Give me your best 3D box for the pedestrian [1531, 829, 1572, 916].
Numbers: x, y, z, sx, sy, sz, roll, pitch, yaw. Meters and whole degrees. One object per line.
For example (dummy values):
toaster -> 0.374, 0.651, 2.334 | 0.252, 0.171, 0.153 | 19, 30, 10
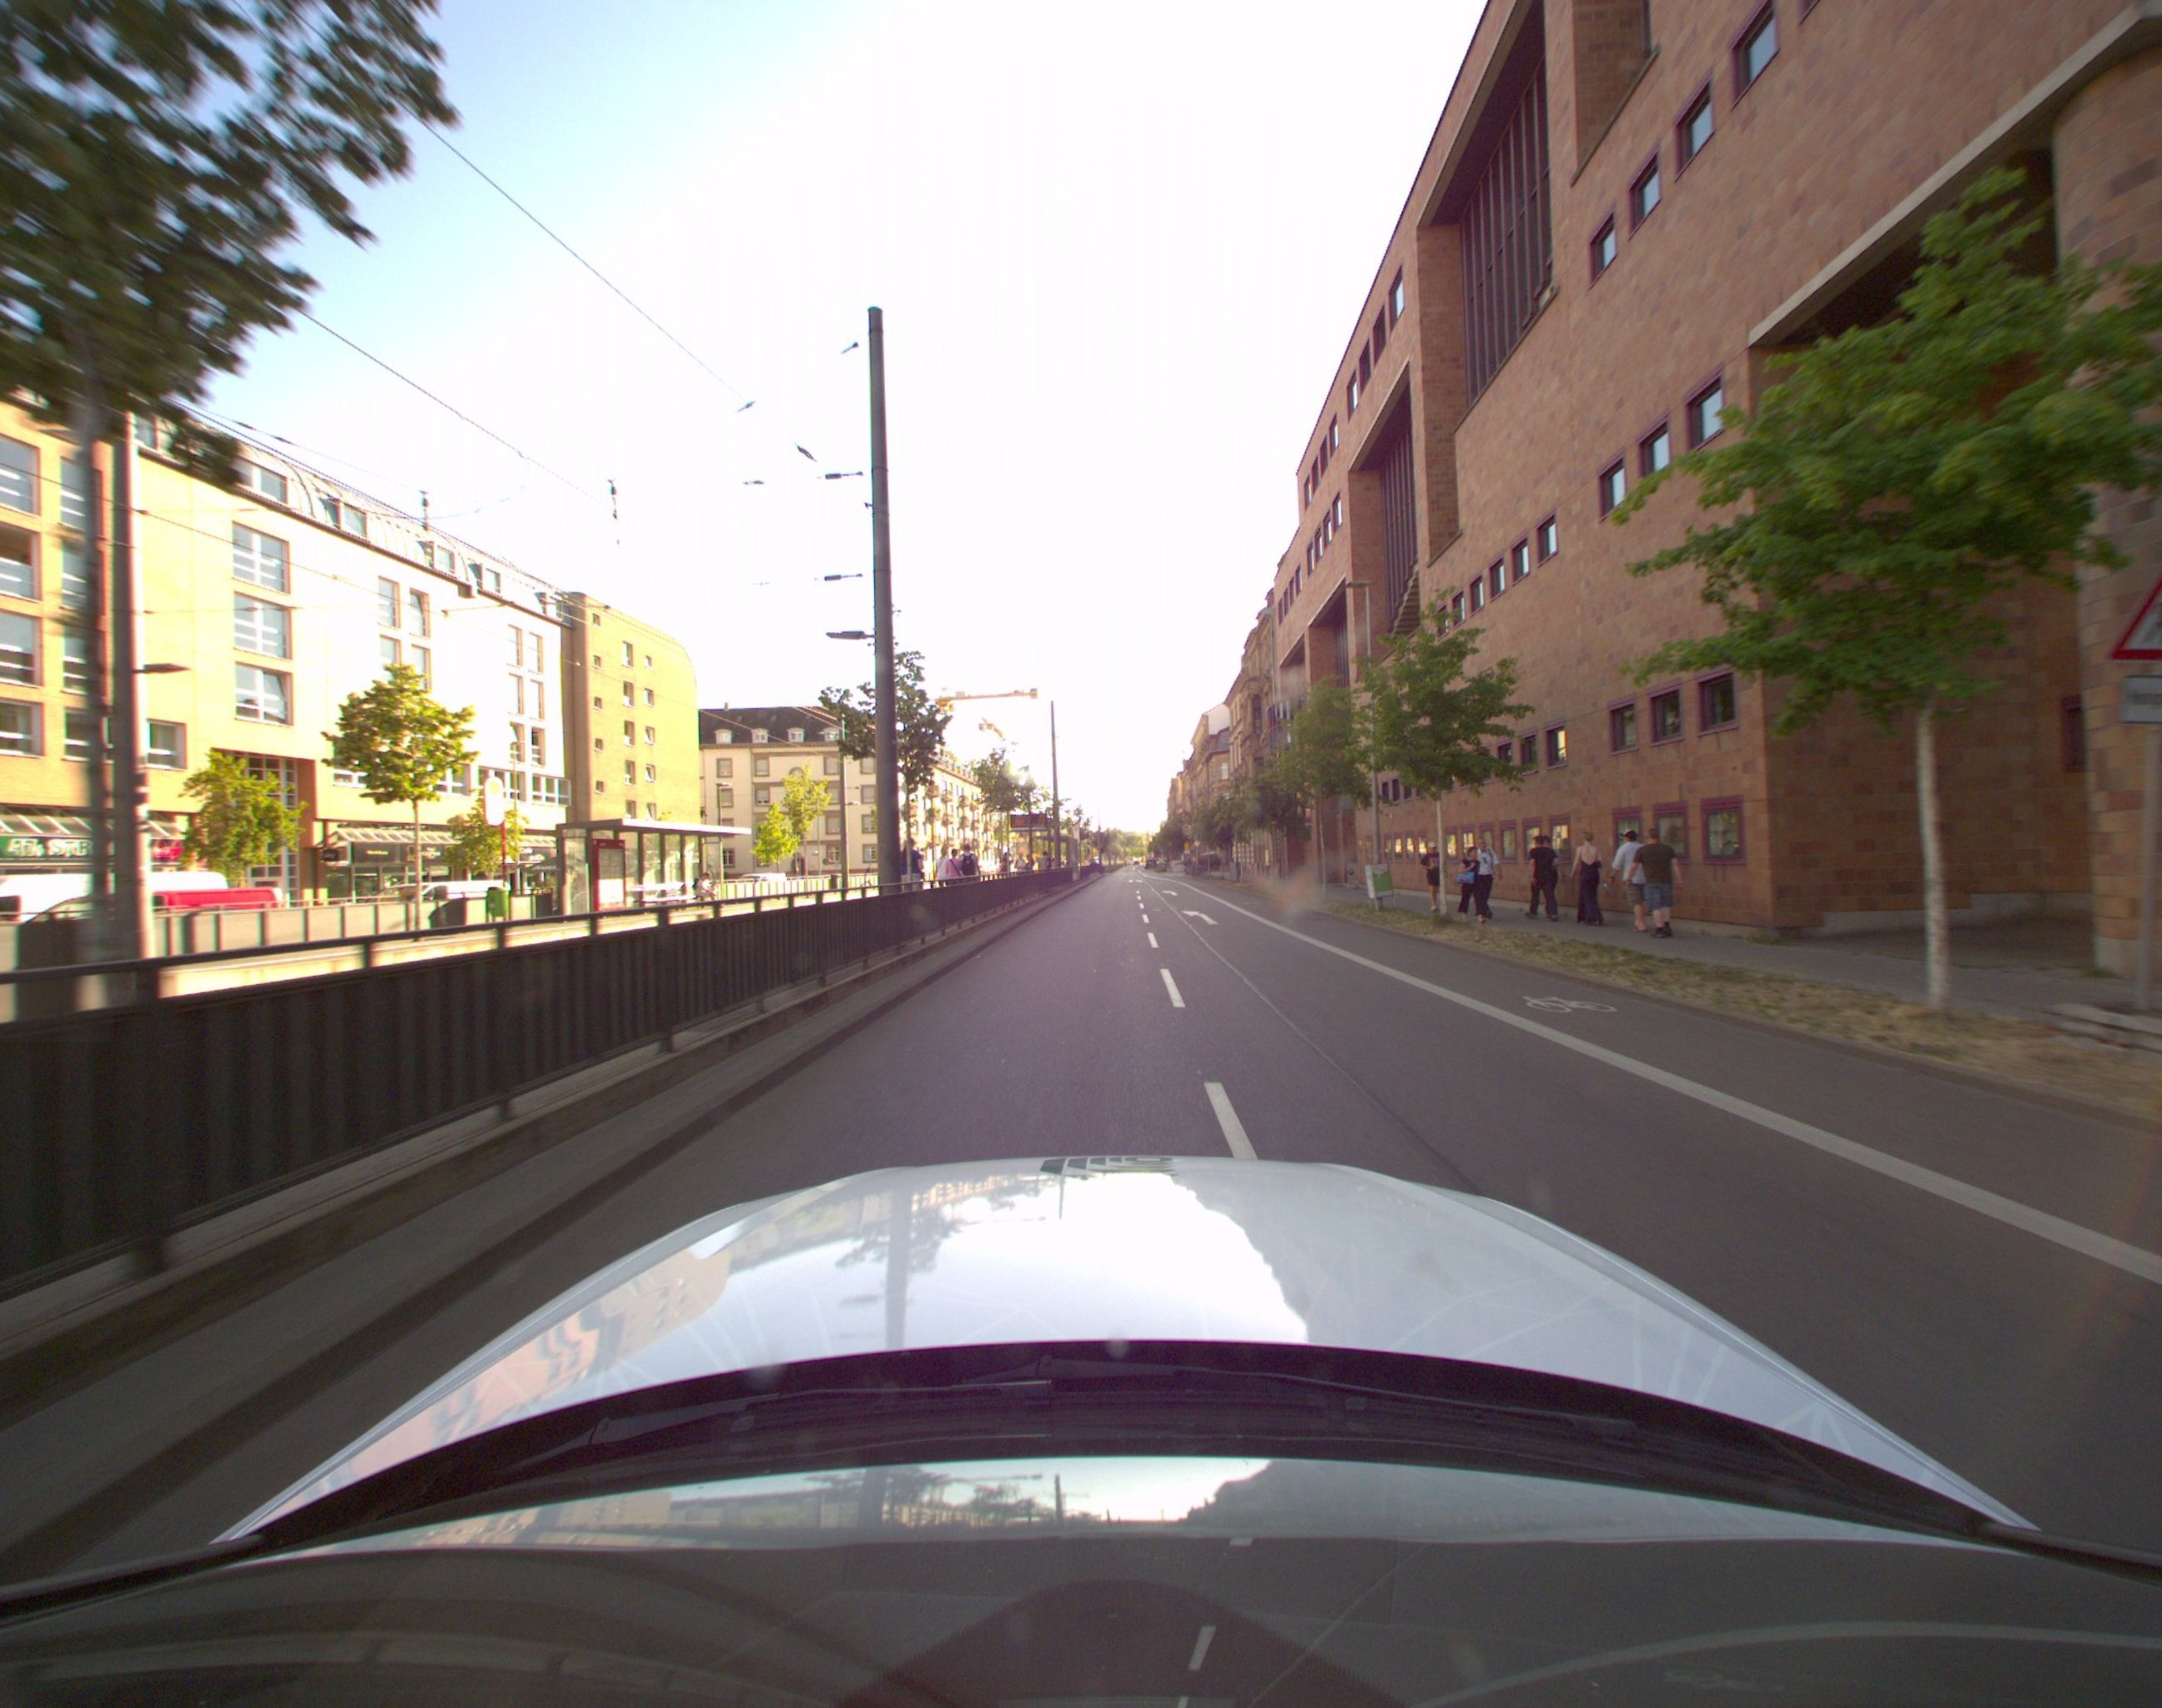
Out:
pedestrian -> 9.773, 0.385, 16.924 | 0.534, 1.756, 0.422 | -2, -1, 1

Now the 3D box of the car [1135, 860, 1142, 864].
car -> 18.054, 2.499, 254.494 | 1.786, 1.464, 4.012 | -2, -1, 10

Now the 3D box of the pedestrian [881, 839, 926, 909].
pedestrian -> -3.874, 0.430, 17.830 | 0.679, 1.483, 0.830 | -2, -1, 7

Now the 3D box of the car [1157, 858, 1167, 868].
car -> 13.868, 1.537, 139.512 | 1.629, 1.486, 4.219 | -4, 0, 6

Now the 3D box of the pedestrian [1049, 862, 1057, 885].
pedestrian -> -1.714, 1.179, 50.094 | 0.428, 1.385, 0.406 | -1, -1, -9

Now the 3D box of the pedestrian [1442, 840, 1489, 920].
pedestrian -> 8.009, 0.538, 16.987 | 0.516, 1.605, 0.702 | -2, -1, -10

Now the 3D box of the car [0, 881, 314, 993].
car -> -19.422, 1.627, 17.334 | 1.878, 1.866, 4.320 | -2, 0, 3

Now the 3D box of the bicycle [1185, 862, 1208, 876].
bicycle -> 9.843, 1.283, 69.323 | 1.821, 1.064, 0.663 | -5, 0, -2

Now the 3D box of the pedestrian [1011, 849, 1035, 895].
pedestrian -> -2.007, 0.633, 28.389 | 0.670, 1.562, 0.907 | -2, -1, 3

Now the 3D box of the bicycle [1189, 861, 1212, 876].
bicycle -> 10.383, 1.254, 70.671 | 1.821, 1.064, 0.663 | -5, 0, -2

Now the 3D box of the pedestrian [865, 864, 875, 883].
pedestrian -> -22.275, 2.033, 86.051 | 0.797, 2.013, 0.626 | -2, 0, 3

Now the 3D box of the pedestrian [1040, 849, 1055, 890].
pedestrian -> -1.417, 0.638, 34.153 | 0.503, 1.679, 0.652 | -2, -1, 3

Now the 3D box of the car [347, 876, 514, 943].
car -> -21.901, 1.797, 27.678 | 1.876, 1.866, 4.323 | -2, 0, 6

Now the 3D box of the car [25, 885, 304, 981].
car -> -22.359, 1.840, 20.197 | 1.879, 1.866, 4.317 | -2, 0, 2

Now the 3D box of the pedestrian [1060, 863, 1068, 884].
pedestrian -> -0.974, 1.140, 47.204 | 0.406, 1.190, 0.428 | -1, -1, -9

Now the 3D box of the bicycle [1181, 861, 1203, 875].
bicycle -> 10.017, 1.253, 73.554 | 1.821, 1.064, 0.663 | -5, 0, -2

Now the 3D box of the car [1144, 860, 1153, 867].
car -> 14.006, 1.991, 169.484 | 1.841, 1.457, 4.162 | -2, 0, 5

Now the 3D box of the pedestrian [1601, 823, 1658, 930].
pedestrian -> 9.304, 0.372, 13.827 | 0.532, 1.756, 0.698 | -2, -1, 14

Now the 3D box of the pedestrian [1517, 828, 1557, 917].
pedestrian -> 9.134, 0.368, 16.313 | 0.532, 1.756, 0.466 | -2, -1, 13

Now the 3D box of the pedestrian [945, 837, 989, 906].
pedestrian -> -2.871, 0.429, 20.611 | 0.884, 1.672, 1.096 | -2, -1, 2

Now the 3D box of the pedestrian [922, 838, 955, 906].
pedestrian -> -3.646, 0.456, 20.896 | 0.654, 1.672, 0.672 | -2, -1, 2

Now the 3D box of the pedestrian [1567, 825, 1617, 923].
pedestrian -> 9.453, 0.359, 15.080 | 0.532, 1.756, 0.698 | -2, -1, 14

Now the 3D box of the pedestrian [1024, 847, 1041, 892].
pedestrian -> -1.909, 0.601, 32.106 | 0.503, 1.732, 0.652 | -2, -1, 3

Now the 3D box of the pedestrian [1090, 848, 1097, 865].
pedestrian -> 1.255, 0.283, 80.596 | 0.652, 1.643, 0.868 | -1, -2, 3

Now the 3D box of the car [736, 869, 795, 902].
car -> -22.190, 2.199, 57.444 | 1.982, 2.013, 4.158 | -2, 0, 9

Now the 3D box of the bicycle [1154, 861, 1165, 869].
bicycle -> 12.699, 1.777, 131.462 | 1.573, 1.048, 0.489 | -4, -1, -5

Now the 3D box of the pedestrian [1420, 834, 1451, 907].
pedestrian -> 8.745, 0.405, 20.081 | 0.533, 1.756, 0.422 | -2, -1, 6

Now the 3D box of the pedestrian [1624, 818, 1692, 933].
pedestrian -> 9.133, 0.344, 12.916 | 0.725, 1.756, 0.700 | -3, -1, 28

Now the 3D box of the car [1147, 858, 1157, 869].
car -> 13.591, 1.718, 155.812 | 1.876, 1.937, 4.479 | -2, 0, 5

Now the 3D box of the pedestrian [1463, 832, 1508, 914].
pedestrian -> 8.704, 0.414, 17.553 | 0.569, 1.713, 0.641 | -2, -1, -2

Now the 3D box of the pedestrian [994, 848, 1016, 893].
pedestrian -> -2.967, 0.646, 31.813 | 0.716, 1.732, 0.652 | -2, -1, 3

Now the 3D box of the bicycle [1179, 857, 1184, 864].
bicycle -> 20.057, 1.331, 162.327 | 0.658, 1.402, 2.354 | -2, 0, 3

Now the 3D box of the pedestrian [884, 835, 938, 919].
pedestrian -> -3.492, 0.472, 16.775 | 0.884, 1.672, 0.672 | -2, -1, 1

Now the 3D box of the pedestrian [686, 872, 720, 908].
pedestrian -> -13.149, 1.232, 28.341 | 0.670, 1.189, 0.907 | -2, -1, 3

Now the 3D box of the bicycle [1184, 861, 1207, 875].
bicycle -> 10.145, 1.256, 72.071 | 1.821, 1.064, 0.663 | -5, 0, -2

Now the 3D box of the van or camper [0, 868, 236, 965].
van or camper -> -27.524, 1.638, 22.545 | 1.984, 2.169, 5.624 | -2, 1, 5

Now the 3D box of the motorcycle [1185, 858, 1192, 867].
motorcycle -> 17.702, 1.394, 134.261 | 0.791, 1.308, 2.854 | -4, 0, 3
